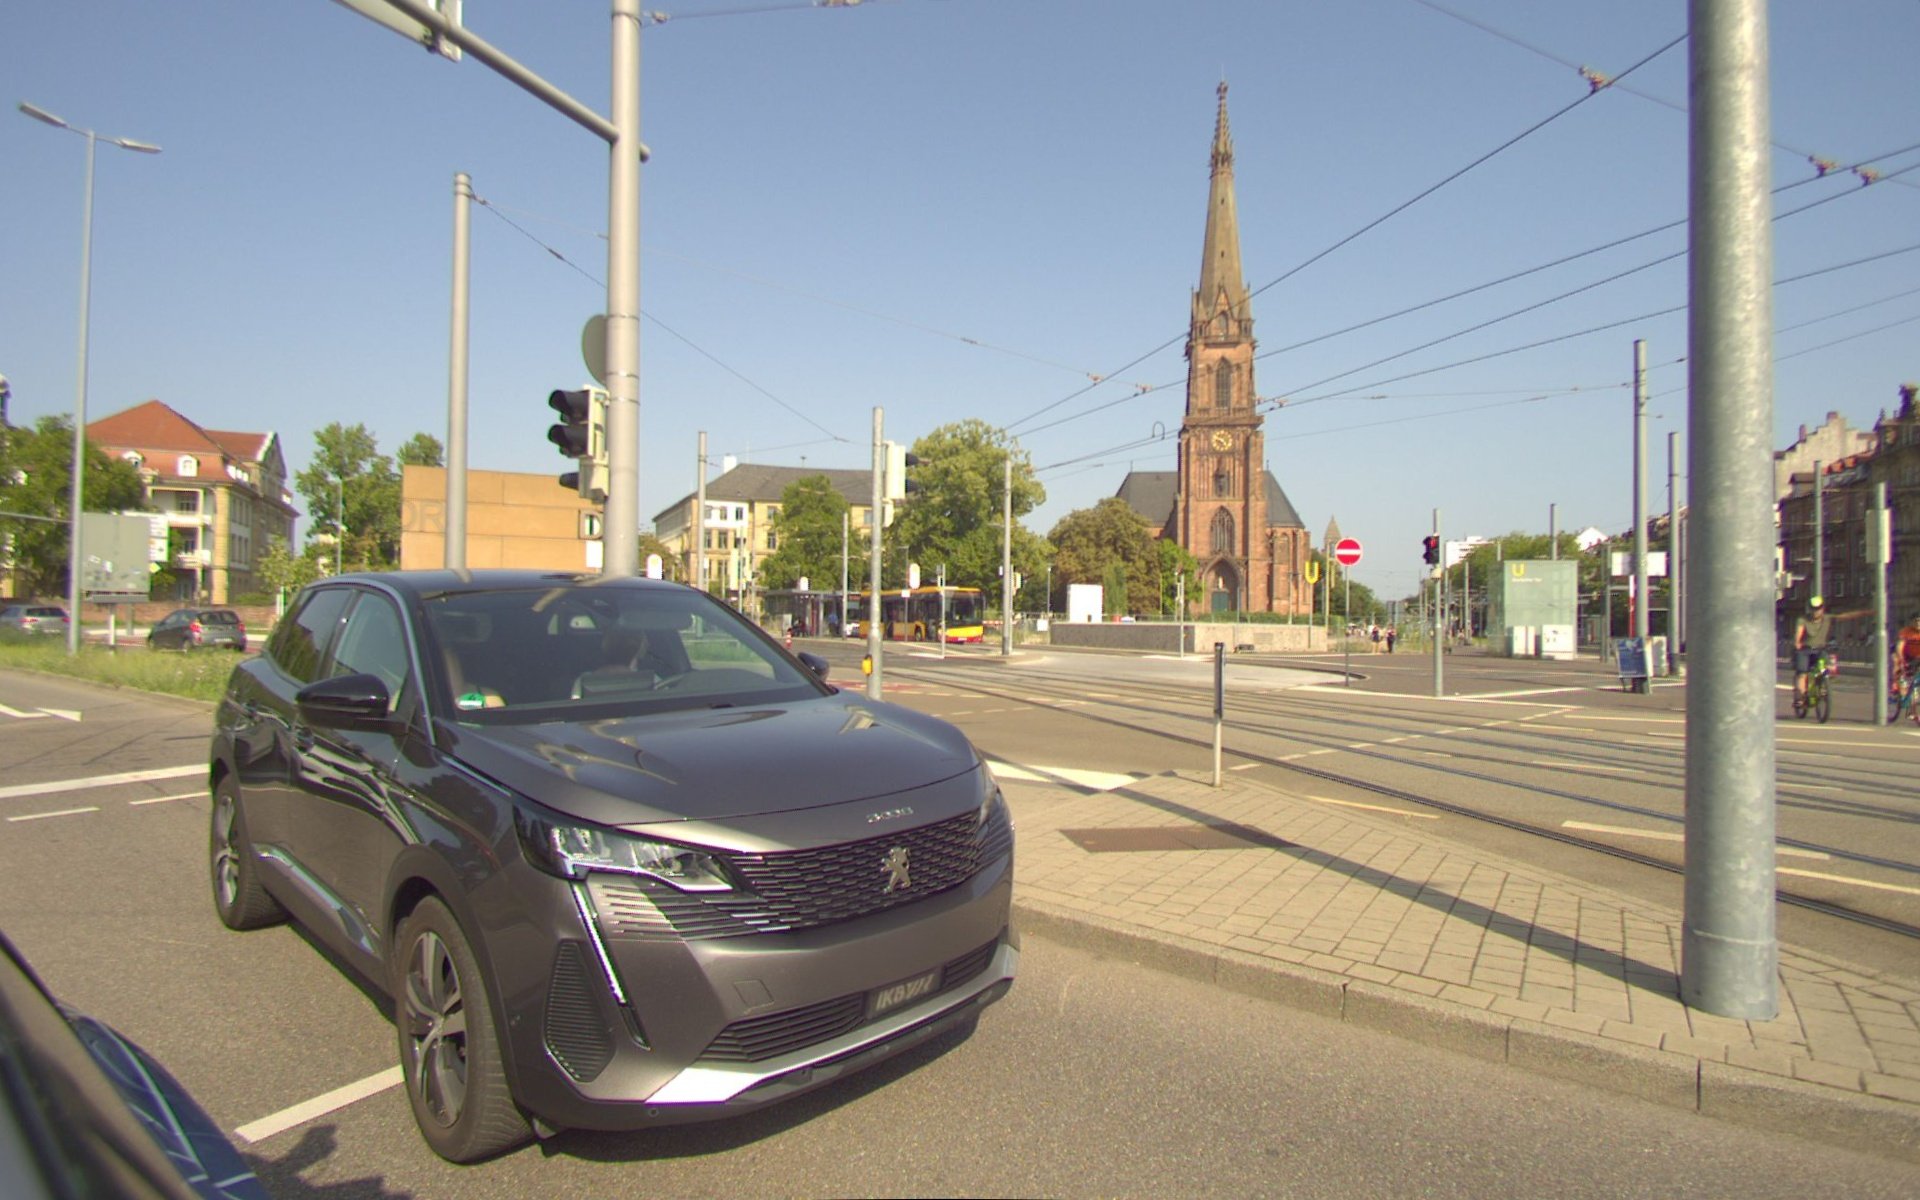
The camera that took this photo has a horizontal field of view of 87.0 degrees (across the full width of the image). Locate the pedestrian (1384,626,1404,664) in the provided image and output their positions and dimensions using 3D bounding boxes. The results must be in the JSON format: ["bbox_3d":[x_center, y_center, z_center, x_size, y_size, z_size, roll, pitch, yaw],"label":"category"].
[{"bbox_3d":[20.531,2.113,47.851,0.750,1.796,0.699,-1,-2,34],"label":"pedestrian"}]

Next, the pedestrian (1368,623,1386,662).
[{"bbox_3d":[19.894,2.018,48.316,0.651,1.880,0.713,-1,-2,34],"label":"pedestrian"}]

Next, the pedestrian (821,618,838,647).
[{"bbox_3d":[-8.003,1.982,62.008,0.816,1.752,0.838,1,-2,-27],"label":"pedestrian"}]

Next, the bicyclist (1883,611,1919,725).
[{"bbox_3d":[14.507,1.010,15.194,0.722,1.664,0.876,0,-2,26],"label":"bicyclist"}]

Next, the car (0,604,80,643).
[{"bbox_3d":[-36.324,0.895,39.323,4.204,1.444,1.803,0,-2,27],"label":"car"}]

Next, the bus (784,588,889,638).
[{"bbox_3d":[-8.551,0.929,67.807,3.242,3.000,12.838,1,-2,-25],"label":"bus"}]

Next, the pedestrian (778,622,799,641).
[{"bbox_3d":[-10.510,1.913,62.023,1.013,1.142,0.740,2,-2,-33],"label":"pedestrian"}]

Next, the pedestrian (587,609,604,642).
[{"bbox_3d":[-18.523,1.298,51.392,0.707,1.642,0.859,1,-2,-26],"label":"pedestrian"}]

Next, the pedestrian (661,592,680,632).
[{"bbox_3d":[-13.244,0.564,46.264,0.689,1.814,0.782,1,-2,-27],"label":"pedestrian"}]

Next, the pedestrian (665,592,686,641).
[{"bbox_3d":[-10.688,0.606,38.012,0.689,1.814,0.782,1,-2,-20],"label":"pedestrian"}]

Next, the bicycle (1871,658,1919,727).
[{"bbox_3d":[14.511,1.370,15.210,0.722,0.939,1.802,0,-2,26],"label":"bicycle"}]

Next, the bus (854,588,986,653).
[{"bbox_3d":[-2.507,1.131,55.213,2.669,3.132,12.254,1,-2,-25],"label":"bus"}]

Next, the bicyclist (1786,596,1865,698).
[{"bbox_3d":[13.401,0.715,15.692,0.722,1.539,0.789,0,-2,26],"label":"bicyclist"}]

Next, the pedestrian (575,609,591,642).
[{"bbox_3d":[-20.195,1.359,54.181,0.707,1.751,0.859,1,-2,-26],"label":"pedestrian"}]

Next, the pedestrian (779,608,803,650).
[{"bbox_3d":[-7.433,1.251,44.428,0.698,1.814,0.772,0,-2,30],"label":"pedestrian"}]

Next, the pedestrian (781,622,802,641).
[{"bbox_3d":[-10.188,1.920,61.212,1.013,1.142,0.740,2,-2,-33],"label":"pedestrian"}]

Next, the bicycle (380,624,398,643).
[{"bbox_3d":[-27.207,1.601,48.222,0.582,0.844,1.552,-2,-1,-24],"label":"bicycle"}]

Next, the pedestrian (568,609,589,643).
[{"bbox_3d":[-19.273,1.311,51.088,0.851,1.718,0.734,1,-2,-28],"label":"pedestrian"}]

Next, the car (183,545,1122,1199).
[{"bbox_3d":[-1.640,0.697,4.020,4.374,1.503,1.663,-1,-2,44],"label":"car"}]

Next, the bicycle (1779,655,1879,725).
[{"bbox_3d":[13.375,1.357,15.629,0.722,0.939,1.802,0,-2,26],"label":"bicycle"}]

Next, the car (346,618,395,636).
[{"bbox_3d":[-49.478,2.257,85.008,1.606,1.509,3.841,1,-1,7],"label":"car"}]

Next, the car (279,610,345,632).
[{"bbox_3d":[-50.194,1.630,78.522,1.977,1.646,4.361,0,-1,8],"label":"car"}]

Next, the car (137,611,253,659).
[{"bbox_3d":[-24.786,1.118,32.767,3.664,1.463,1.873,0,-2,33],"label":"car"}]
